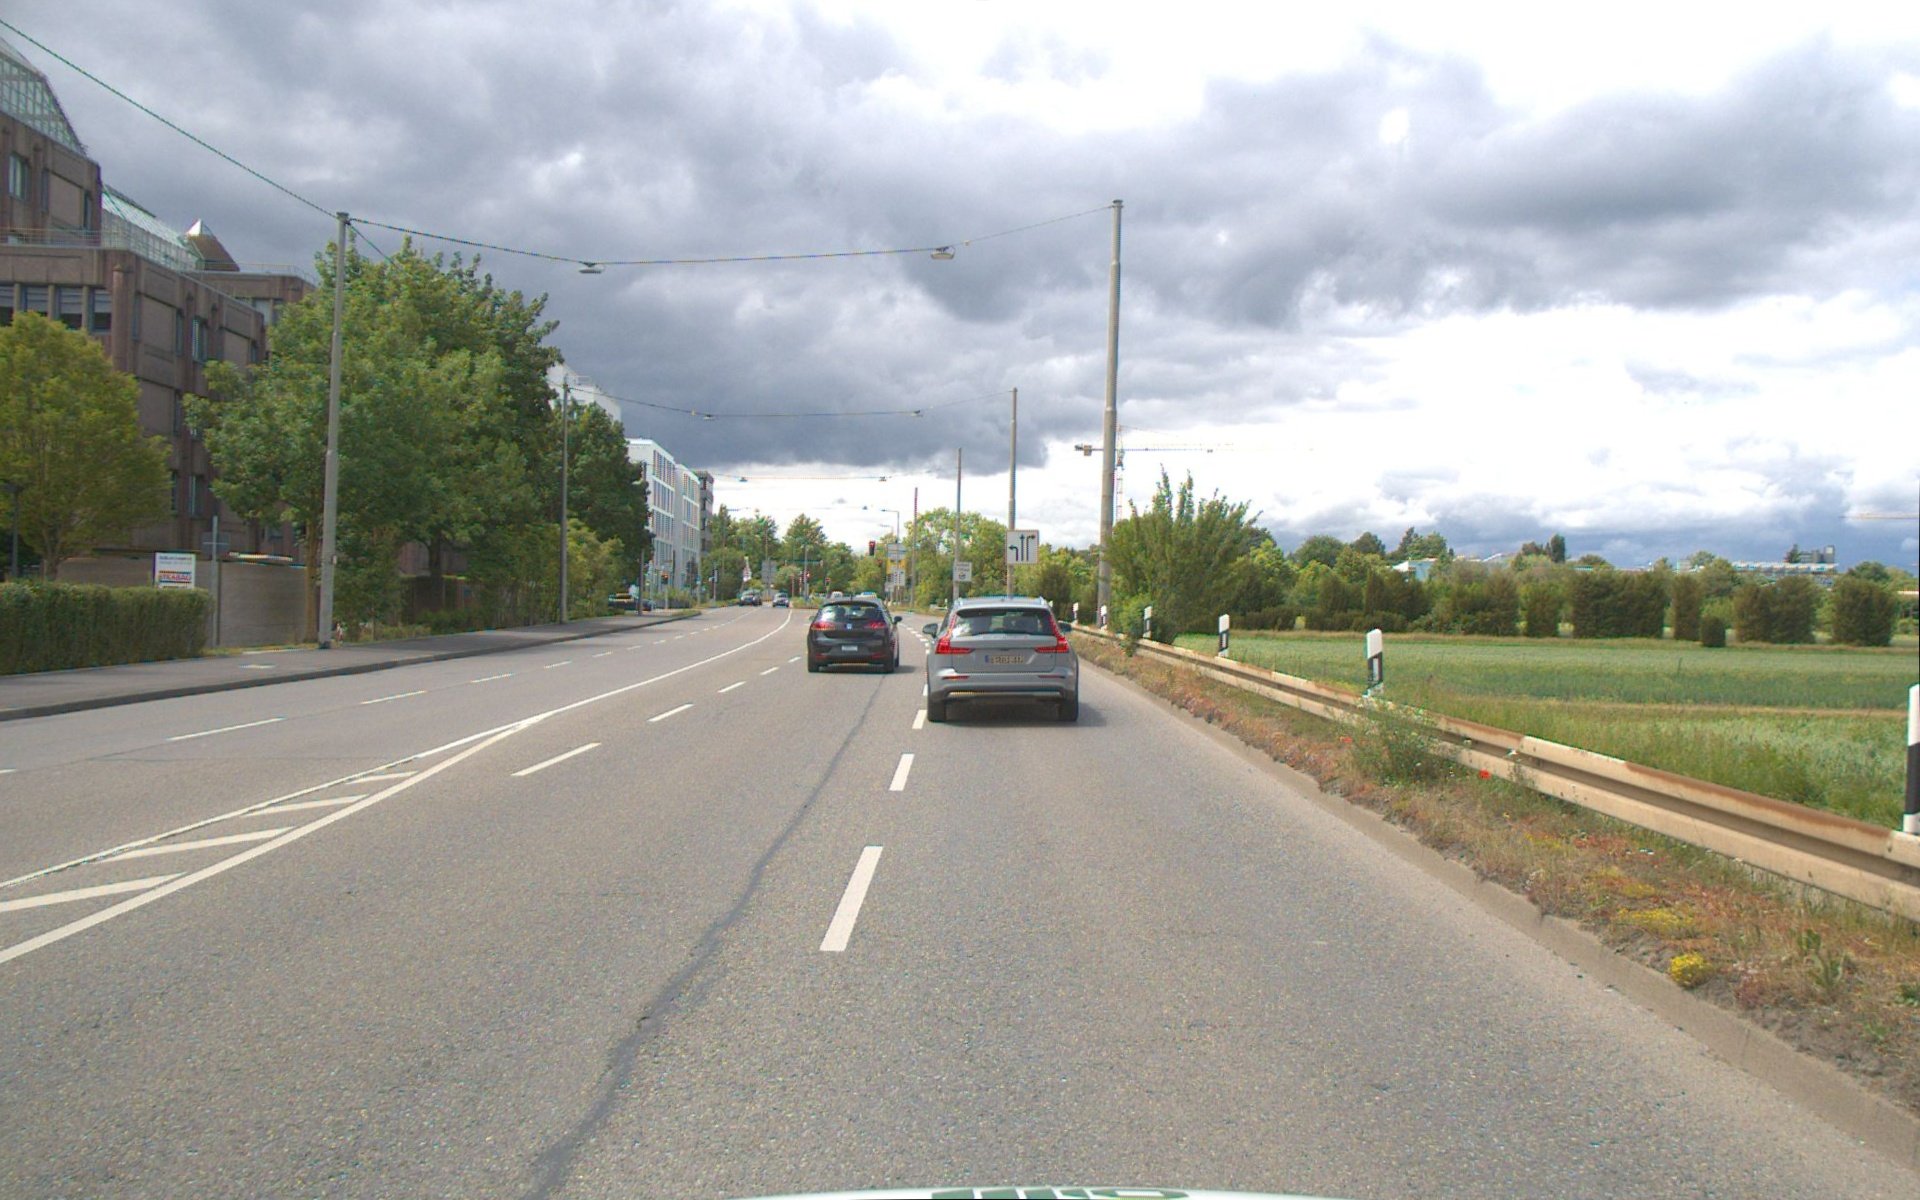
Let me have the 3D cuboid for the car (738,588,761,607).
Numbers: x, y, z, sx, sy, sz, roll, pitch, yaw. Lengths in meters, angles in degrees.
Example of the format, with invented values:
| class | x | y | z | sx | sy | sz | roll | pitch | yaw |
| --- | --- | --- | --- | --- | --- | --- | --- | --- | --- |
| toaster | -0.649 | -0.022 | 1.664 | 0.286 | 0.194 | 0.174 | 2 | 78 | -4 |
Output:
| class | x | y | z | sx | sy | sz | roll | pitch | yaw |
| --- | --- | --- | --- | --- | --- | --- | --- | --- | --- |
| car | -21.913 | -0.244 | 172.155 | 1.844 | 1.747 | 3.999 | 3 | -1 | -1 |

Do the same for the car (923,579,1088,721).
| class | x | y | z | sx | sy | sz | roll | pitch | yaw |
| --- | --- | --- | --- | --- | --- | --- | --- | --- | --- |
| car | 0.581 | 0.598 | 20.939 | 1.856 | 1.581 | 4.000 | 1 | -1 | 2 |

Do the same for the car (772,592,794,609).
| class | x | y | z | sx | sy | sz | roll | pitch | yaw |
| --- | --- | --- | --- | --- | --- | --- | --- | --- | --- |
| car | -18.205 | 0.048 | 170.427 | 1.844 | 1.547 | 3.999 | 3 | -1 | -1 |

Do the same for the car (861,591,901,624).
| class | x | y | z | sx | sy | sz | roll | pitch | yaw |
| --- | --- | --- | --- | --- | --- | --- | --- | --- | --- |
| car | -4.419 | 0.439 | 93.212 | 1.953 | 1.724 | 3.999 | 3 | -1 | 0 |

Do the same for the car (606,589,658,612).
| class | x | y | z | sx | sy | sz | roll | pitch | yaw |
| --- | --- | --- | --- | --- | --- | --- | --- | --- | --- |
| car | -27.533 | 0.051 | 138.823 | 3.906 | 1.752 | 1.999 | 3 | -1 | -1 |

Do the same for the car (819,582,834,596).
| class | x | y | z | sx | sy | sz | roll | pitch | yaw |
| --- | --- | --- | --- | --- | --- | --- | --- | --- | --- |
| car | -18.315 | -1.540 | 227.465 | 1.911 | 1.780 | 4.384 | 3 | -1 | -4 |

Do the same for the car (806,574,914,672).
| class | x | y | z | sx | sy | sz | roll | pitch | yaw |
| --- | --- | --- | --- | --- | --- | --- | --- | --- | --- |
| car | -1.952 | 0.467 | 33.302 | 1.953 | 1.747 | 3.998 | 3 | -1 | -2 |
